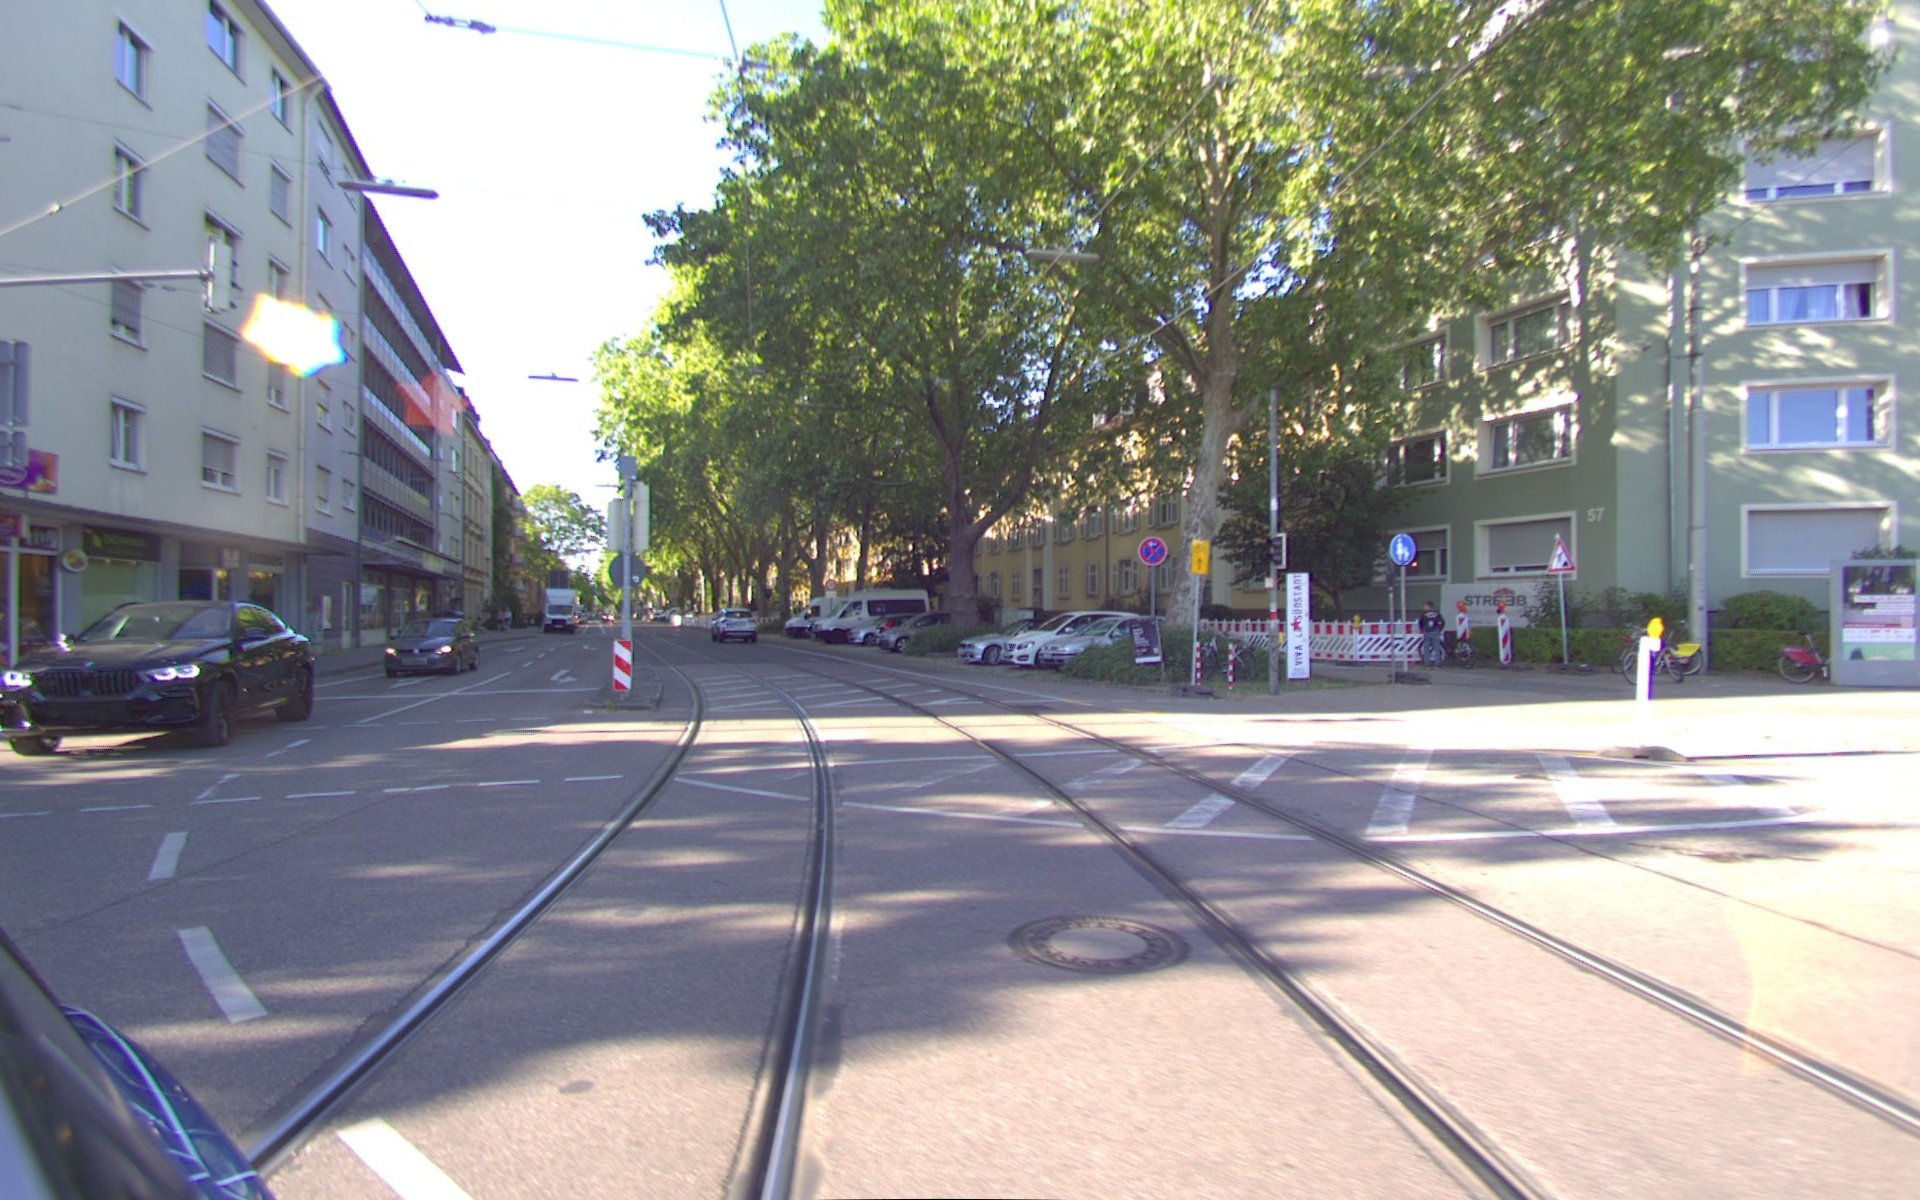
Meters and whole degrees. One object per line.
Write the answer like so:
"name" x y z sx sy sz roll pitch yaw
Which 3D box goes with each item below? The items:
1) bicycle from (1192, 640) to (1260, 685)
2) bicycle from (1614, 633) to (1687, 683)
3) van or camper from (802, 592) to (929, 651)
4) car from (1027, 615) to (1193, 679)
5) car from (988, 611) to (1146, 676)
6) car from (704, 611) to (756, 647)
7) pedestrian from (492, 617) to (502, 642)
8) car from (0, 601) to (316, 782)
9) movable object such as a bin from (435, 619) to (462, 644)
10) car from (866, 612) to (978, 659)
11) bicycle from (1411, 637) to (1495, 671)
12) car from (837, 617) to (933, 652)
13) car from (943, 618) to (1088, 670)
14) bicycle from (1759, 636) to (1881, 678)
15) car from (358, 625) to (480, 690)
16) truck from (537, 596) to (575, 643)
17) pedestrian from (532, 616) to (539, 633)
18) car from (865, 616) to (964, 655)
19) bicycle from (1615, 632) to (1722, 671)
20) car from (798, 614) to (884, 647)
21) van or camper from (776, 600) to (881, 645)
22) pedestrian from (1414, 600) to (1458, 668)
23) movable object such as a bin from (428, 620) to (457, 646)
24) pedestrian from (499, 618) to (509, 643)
"bicycle" 5.650 1.308 21.483 1.546 0.895 0.359 0 -1 -28
"bicycle" 13.178 1.094 19.305 1.750 0.895 0.359 0 -1 -28
"van or camper" -4.643 1.003 49.829 5.834 2.668 2.163 -1 0 -18
"car" 3.904 1.177 26.347 3.931 1.428 1.710 -1 0 -23
"car" 3.004 1.183 28.648 4.014 1.624 1.850 -1 0 -16
"car" -11.310 1.395 49.628 1.965 1.644 4.645 0 -1 -19
"pedestrian" -32.194 2.059 70.353 0.532 1.735 0.632 0 -1 -17
"car" -9.719 0.928 12.544 1.898 1.765 4.698 -1 0 -20
"movable object such as a bin" -29.303 1.814 58.003 1.184 1.421 1.376 0 -1 -17
"car" -1.518 1.364 39.607 4.014 1.631 1.850 -1 0 -16
"bicycle" 11.775 1.288 24.208 0.353 0.765 1.782 0 -2 -43
"car" -3.512 1.577 47.303 4.206 1.457 1.699 -1 0 -16
"car" 1.674 1.318 31.028 4.014 1.379 1.850 -1 0 -16
"bicycle" 16.336 1.084 19.256 1.763 0.765 0.356 -1 -1 15
"car" -13.803 1.414 26.075 1.899 1.416 3.951 -1 0 -15
"truck" -28.747 1.362 72.027 2.304 3.137 5.230 -1 0 -22
"pedestrian" -35.355 2.034 84.288 0.532 1.456 0.632 0 -1 -17
"car" -1.911 1.469 42.433 3.798 1.457 1.699 -1 0 -16
"bicycle" 14.544 1.055 20.818 1.774 0.765 0.354 -1 -1 32
"car" -6.558 1.657 55.724 4.466 1.645 1.699 -1 0 -16
"van or camper" -7.654 1.258 58.754 5.668 2.403 2.163 -1 0 -18
"pedestrian" 11.295 0.808 24.012 0.593 1.580 0.743 0 -2 -44
"movable object such as a bin" -28.666 1.804 56.100 1.184 1.421 1.376 0 -1 -17
"pedestrian" -30.915 2.034 68.647 0.532 1.685 0.632 0 -1 -17
